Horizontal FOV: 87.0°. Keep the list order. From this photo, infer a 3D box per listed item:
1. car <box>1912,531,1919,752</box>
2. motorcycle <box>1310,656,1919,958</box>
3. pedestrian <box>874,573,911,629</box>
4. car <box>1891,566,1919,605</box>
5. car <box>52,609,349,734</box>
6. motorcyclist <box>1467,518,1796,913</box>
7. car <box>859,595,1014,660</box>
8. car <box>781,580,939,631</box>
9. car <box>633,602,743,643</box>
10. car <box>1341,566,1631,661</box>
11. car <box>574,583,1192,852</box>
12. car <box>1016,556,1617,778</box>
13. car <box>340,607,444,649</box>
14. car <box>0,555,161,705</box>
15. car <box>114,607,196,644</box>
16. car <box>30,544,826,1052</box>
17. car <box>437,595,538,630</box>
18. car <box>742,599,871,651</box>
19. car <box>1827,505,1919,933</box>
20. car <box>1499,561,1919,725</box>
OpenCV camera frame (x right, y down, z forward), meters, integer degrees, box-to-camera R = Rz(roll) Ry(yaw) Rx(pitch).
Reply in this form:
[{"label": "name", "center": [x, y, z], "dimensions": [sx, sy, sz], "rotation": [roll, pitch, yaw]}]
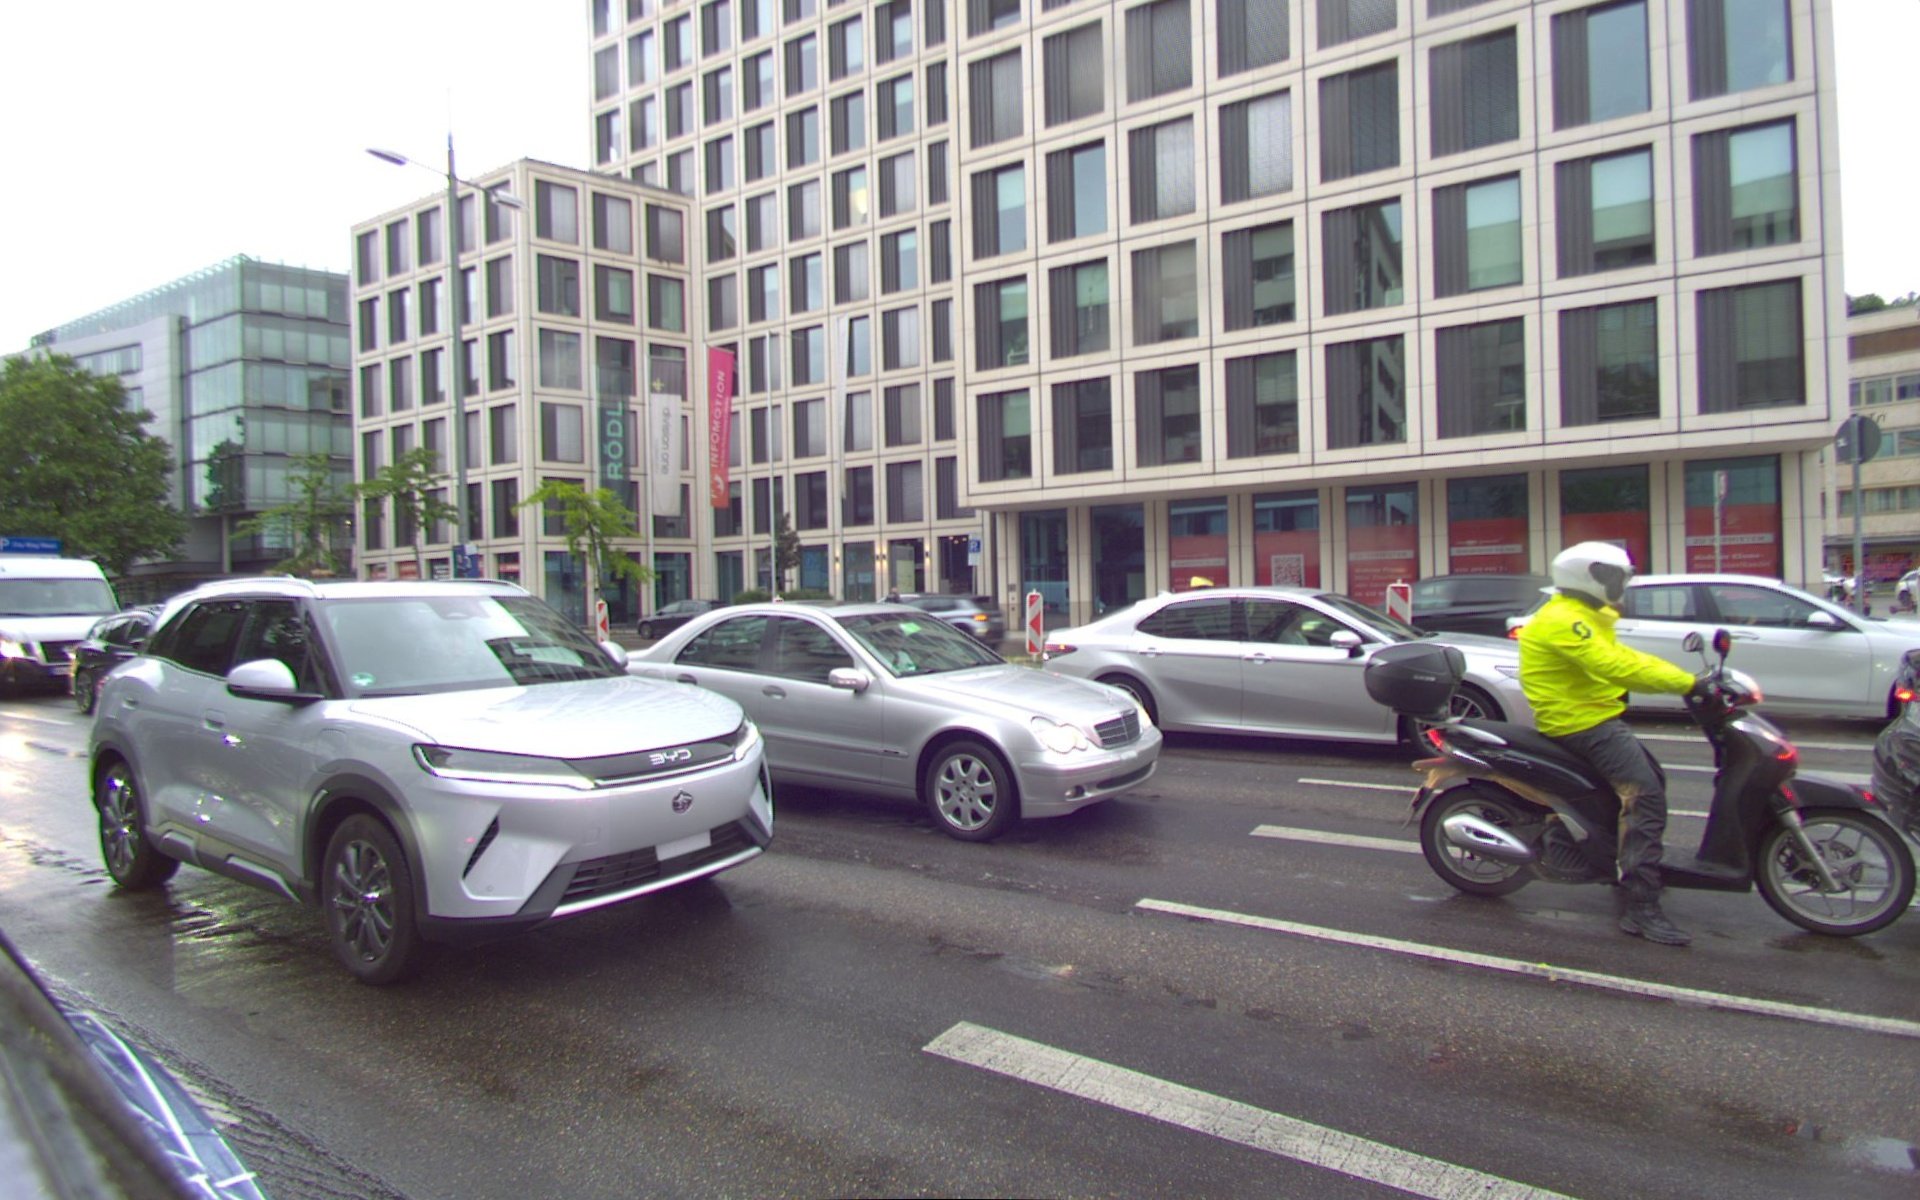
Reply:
[{"label": "car", "center": [8.418, 0.313, 5.821], "dimensions": [3.986, 1.628, 1.720], "rotation": [0, 1, 31]}, {"label": "motorcycle", "center": [2.845, 0.794, 4.522], "dimensions": [2.285, 0.997, 0.935], "rotation": [-1, 1, 30]}, {"label": "pedestrian", "center": [-2.112, 0.037, 31.869], "dimensions": [0.962, 1.747, 0.609], "rotation": [-1, 1, 28]}, {"label": "car", "center": [41.453, -0.613, 41.942], "dimensions": [1.976, 1.661, 4.442], "rotation": [-1, 1, 7]}, {"label": "car", "center": [-10.538, 0.874, 13.979], "dimensions": [4.227, 1.412, 1.885], "rotation": [0, 1, 32]}, {"label": "motorcyclist", "center": [2.890, 0.427, 4.486], "dimensions": [1.096, 1.486, 0.935], "rotation": [-1, 1, 30]}, {"label": "car", "center": [-0.596, 0.680, 25.279], "dimensions": [3.538, 1.530, 1.687], "rotation": [-1, -1, 28]}, {"label": "car", "center": [-3.354, 0.228, 33.520], "dimensions": [5.160, 1.581, 1.687], "rotation": [-1, -1, 29]}, {"label": "car", "center": [-10.204, 0.846, 37.934], "dimensions": [3.937, 1.435, 1.687], "rotation": [-1, -1, 28]}, {"label": "car", "center": [8.727, 0.241, 17.055], "dimensions": [4.121, 1.435, 1.687], "rotation": [-1, -1, 28]}, {"label": "car", "center": [-0.714, 0.629, 7.364], "dimensions": [4.372, 1.414, 1.718], "rotation": [0, 1, 34]}, {"label": "car", "center": [3.019, 0.449, 9.084], "dimensions": [4.790, 1.532, 1.815], "rotation": [0, 1, 35]}, {"label": "car", "center": [-21.633, 1.052, 38.552], "dimensions": [3.857, 1.530, 1.687], "rotation": [-1, -1, 28]}, {"label": "car", "center": [-17.116, 0.468, 18.675], "dimensions": [5.708, 2.403, 2.234], "rotation": [0, 1, 36]}, {"label": "car", "center": [-47.342, 1.468, 59.507], "dimensions": [4.892, 2.029, 1.981], "rotation": [-1, 1, 28]}, {"label": "car", "center": [-2.879, 0.641, 5.213], "dimensions": [4.158, 1.673, 1.794], "rotation": [0, 1, 33]}, {"label": "car", "center": [-20.259, 0.542, 43.389], "dimensions": [4.354, 1.435, 1.687], "rotation": [-1, -1, 28]}, {"label": "car", "center": [-4.757, 0.768, 31.311], "dimensions": [3.668, 1.530, 1.688], "rotation": [-1, -1, 26]}, {"label": "car", "center": [5.975, 0.384, 2.977], "dimensions": [4.990, 1.526, 1.871], "rotation": [0, 1, 34]}, {"label": "car", "center": [7.585, 0.350, 9.911], "dimensions": [3.979, 1.383, 1.770], "rotation": [0, 1, 32]}]
